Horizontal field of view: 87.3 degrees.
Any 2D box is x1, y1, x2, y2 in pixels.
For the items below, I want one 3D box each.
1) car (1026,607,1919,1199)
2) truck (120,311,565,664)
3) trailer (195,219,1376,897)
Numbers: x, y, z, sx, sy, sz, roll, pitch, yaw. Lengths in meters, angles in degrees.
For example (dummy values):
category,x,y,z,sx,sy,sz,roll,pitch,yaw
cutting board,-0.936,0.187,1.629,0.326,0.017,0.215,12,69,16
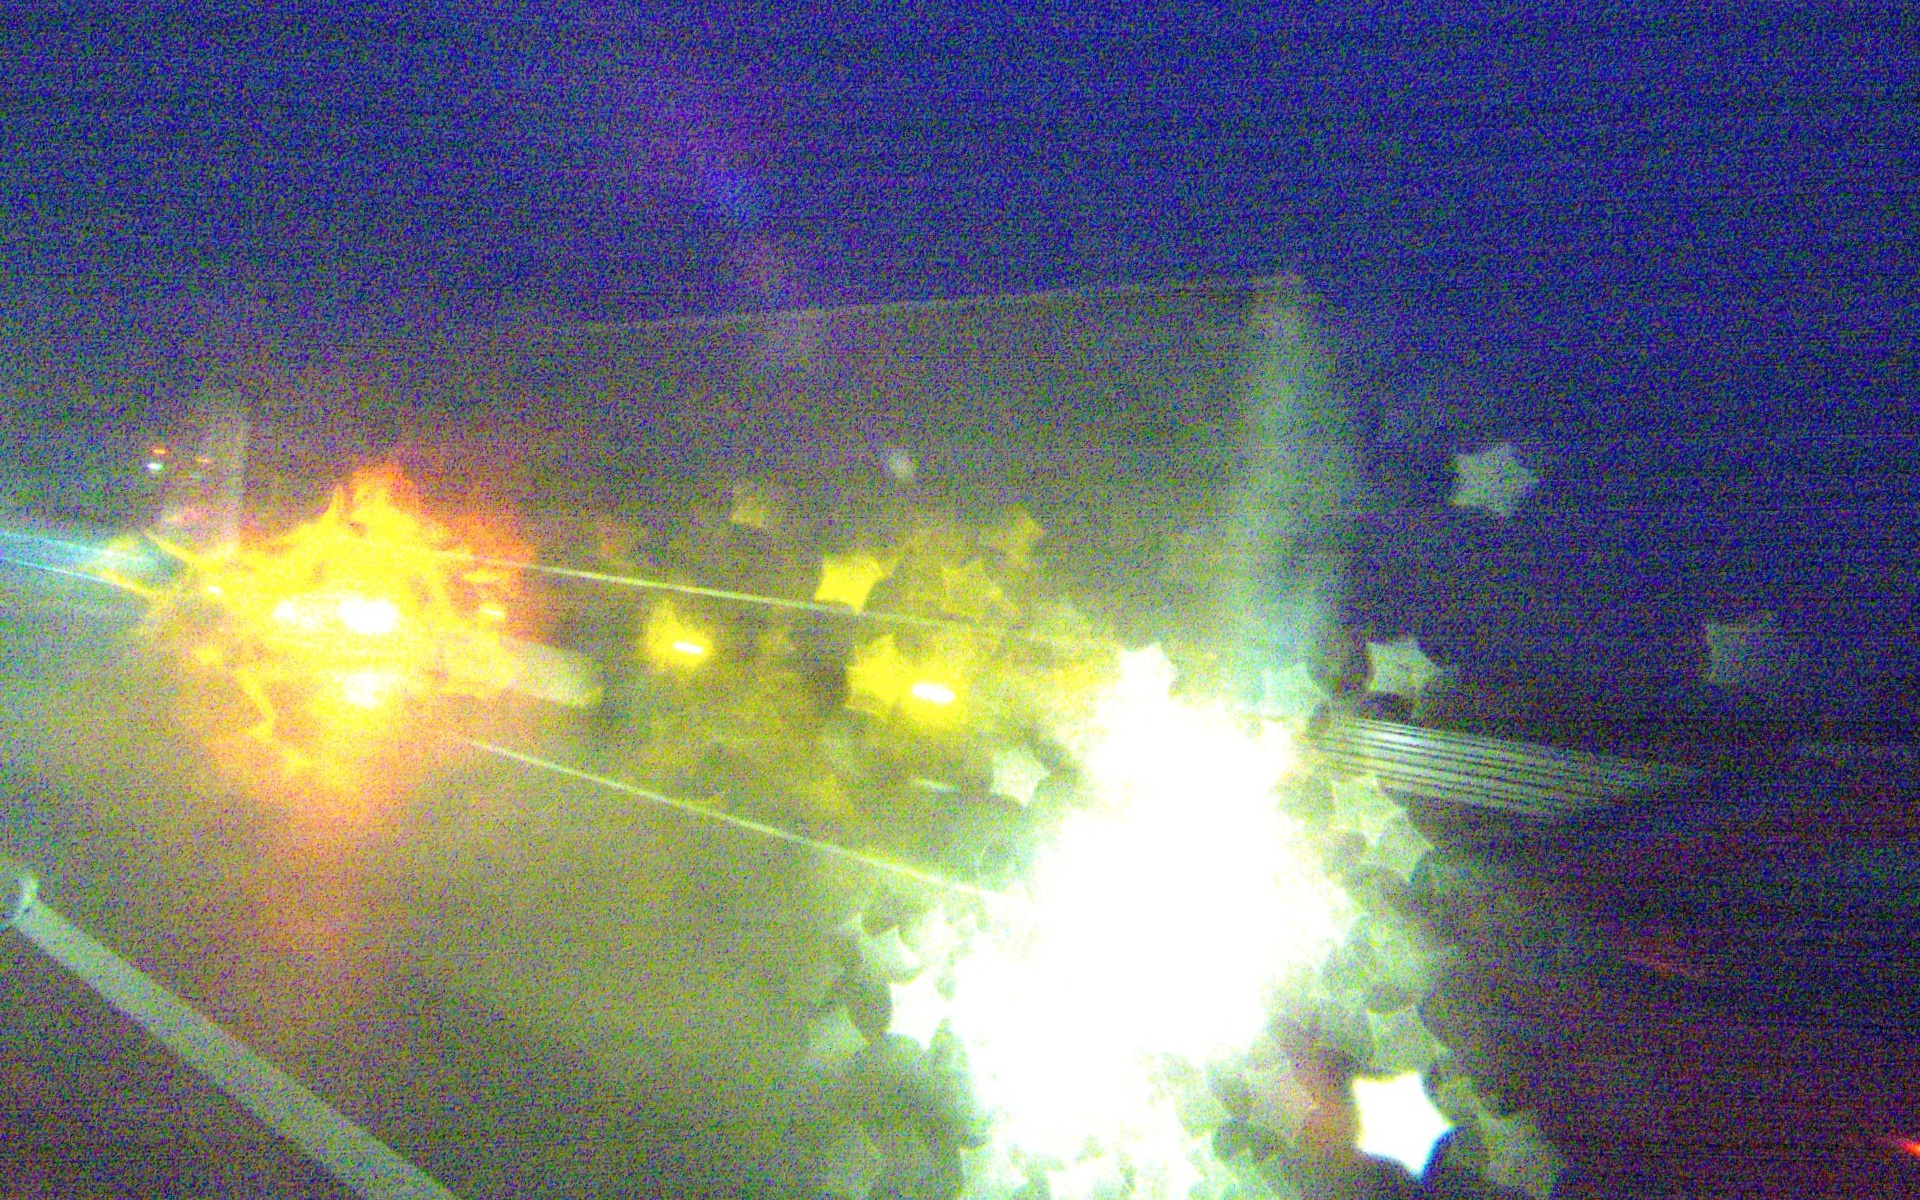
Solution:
category,x,y,z,sx,sy,sz,roll,pitch,yaw
car,2.577,1.085,2.270,4.419,1.594,1.743,6,-1,31
truck,-9.085,-1.534,14.671,5.931,4.161,2.905,7,1,32
trailer,-3.430,-0.848,11.134,14.247,4.161,2.905,7,1,32
